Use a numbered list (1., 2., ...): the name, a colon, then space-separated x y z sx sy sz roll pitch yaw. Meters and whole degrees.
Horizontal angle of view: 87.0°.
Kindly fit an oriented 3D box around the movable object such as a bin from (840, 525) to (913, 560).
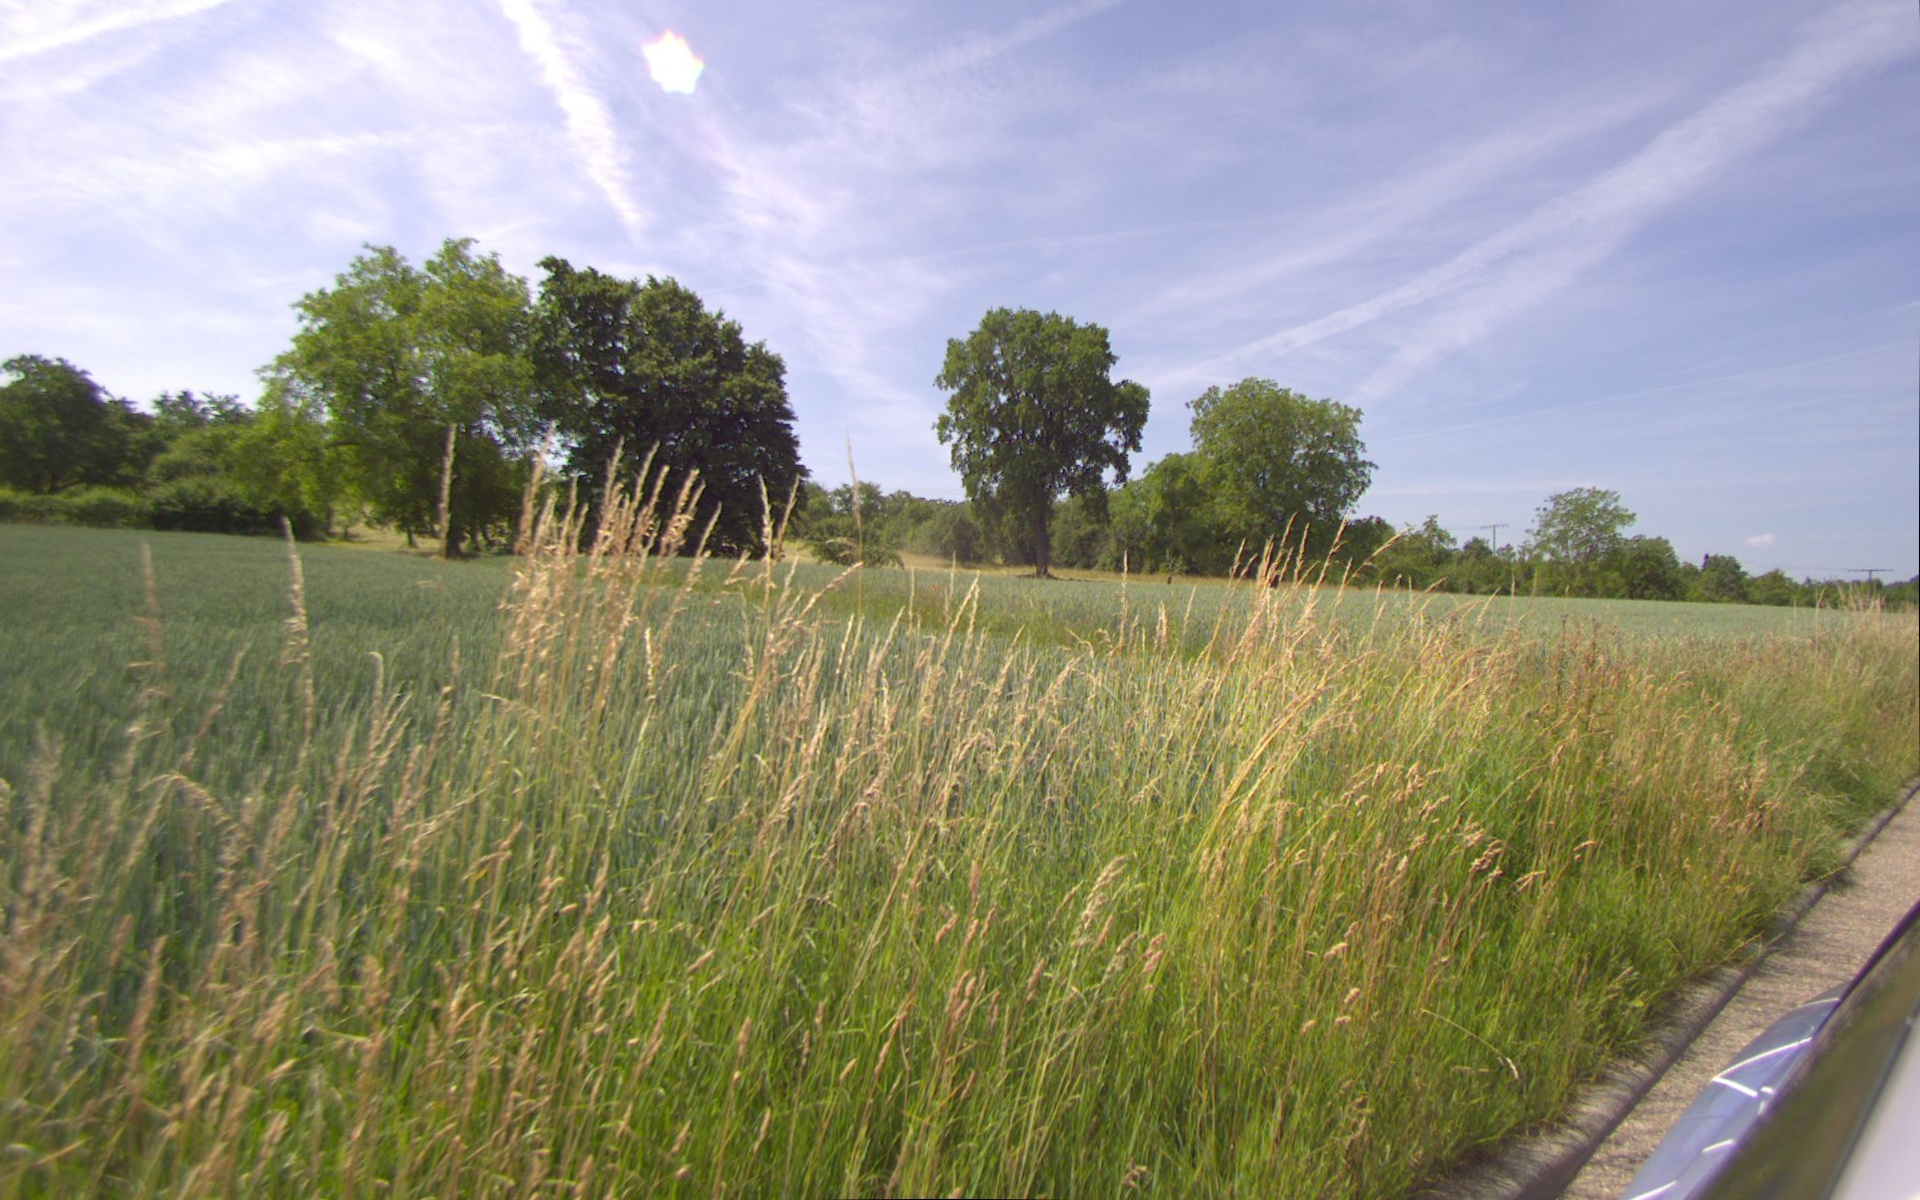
1. movable object such as a bin: -6.629 -4.547 79.115 2.401 2.398 6.576 1 4 -38
